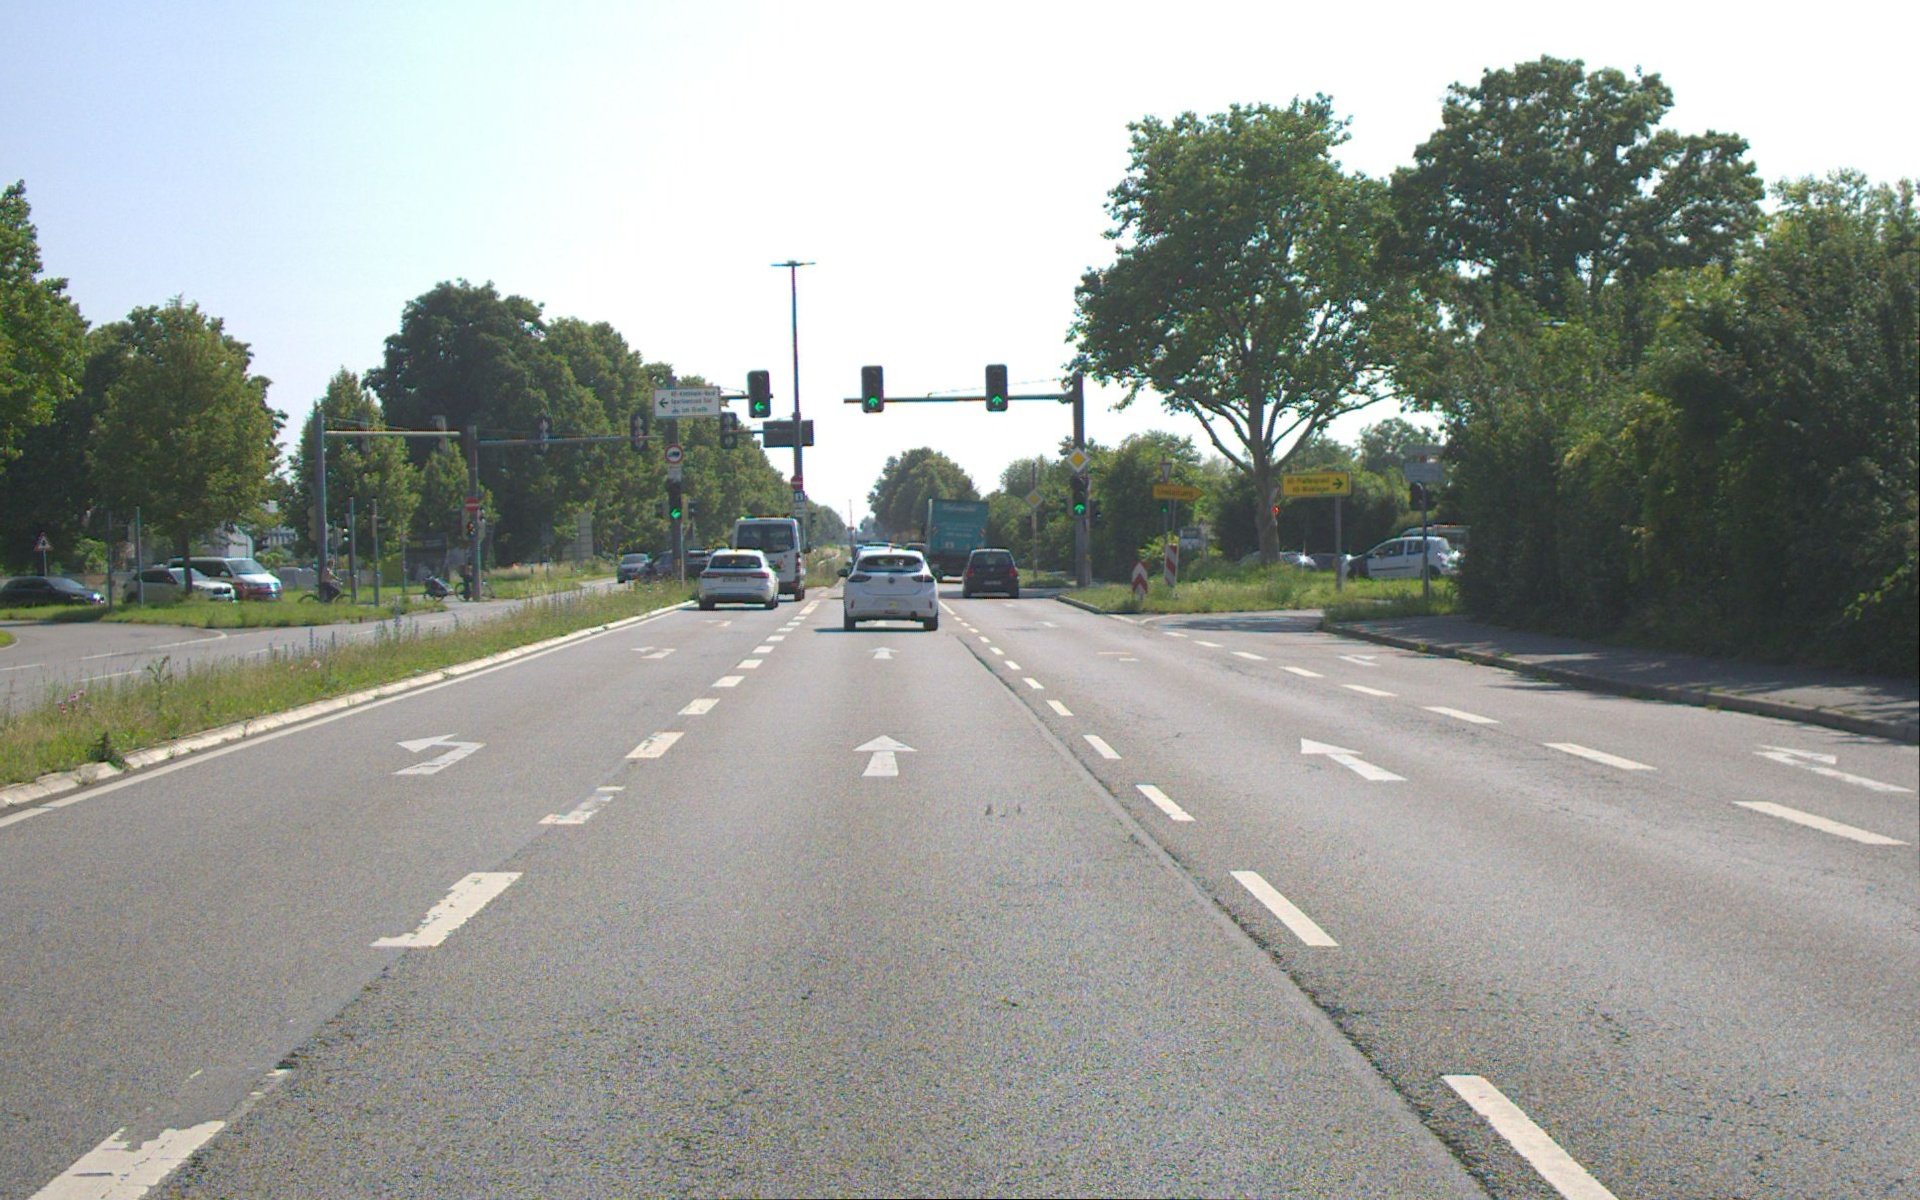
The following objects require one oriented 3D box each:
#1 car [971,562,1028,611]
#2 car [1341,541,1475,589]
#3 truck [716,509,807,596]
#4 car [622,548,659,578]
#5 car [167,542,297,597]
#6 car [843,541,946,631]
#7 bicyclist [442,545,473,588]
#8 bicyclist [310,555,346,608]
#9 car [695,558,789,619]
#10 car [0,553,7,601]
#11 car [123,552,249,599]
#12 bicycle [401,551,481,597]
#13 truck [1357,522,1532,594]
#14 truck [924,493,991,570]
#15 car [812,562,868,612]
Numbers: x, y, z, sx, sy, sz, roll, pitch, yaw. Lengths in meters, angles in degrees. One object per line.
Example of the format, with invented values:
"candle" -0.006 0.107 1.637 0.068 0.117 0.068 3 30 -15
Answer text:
"car" 1.141 -0.382 101.362 1.572 1.410 3.277 1 0 -1
"car" 13.723 -1.070 105.316 3.747 1.464 1.783 0 0 23
"truck" -5.623 -1.382 97.962 2.373 2.381 6.041 -1 1 -2
"car" -16.092 -1.867 173.246 1.485 1.409 3.762 -3 1 -1
"car" -26.761 -1.102 126.301 4.649 1.943 1.996 0 1 34
"car" -1.179 -0.277 62.795 1.798 1.547 4.000 1 1 0
"bicyclist" -18.979 -1.262 129.743 0.863 1.613 0.757 1 0 27
"bicyclist" -18.305 -0.538 99.600 0.847 1.512 0.747 0 1 4
"car" -5.353 -0.294 84.941 1.812 1.459 4.970 0 0 3
"car" -38.389 -0.835 130.118 4.501 1.794 2.001 -1 1 34
"car" -27.647 -0.866 122.823 4.262 1.600 2.001 -1 1 34
"bicycle" -19.635 -0.987 130.035 2.796 1.664 1.134 0 1 26
"truck" 17.073 -1.470 121.505 2.338 2.378 6.474 2 -1 -34
"truck" -0.156 -3.142 158.802 2.891 3.417 9.170 0 1 -1
"car" -3.493 -0.383 100.295 1.572 1.409 3.278 -1 1 -1
